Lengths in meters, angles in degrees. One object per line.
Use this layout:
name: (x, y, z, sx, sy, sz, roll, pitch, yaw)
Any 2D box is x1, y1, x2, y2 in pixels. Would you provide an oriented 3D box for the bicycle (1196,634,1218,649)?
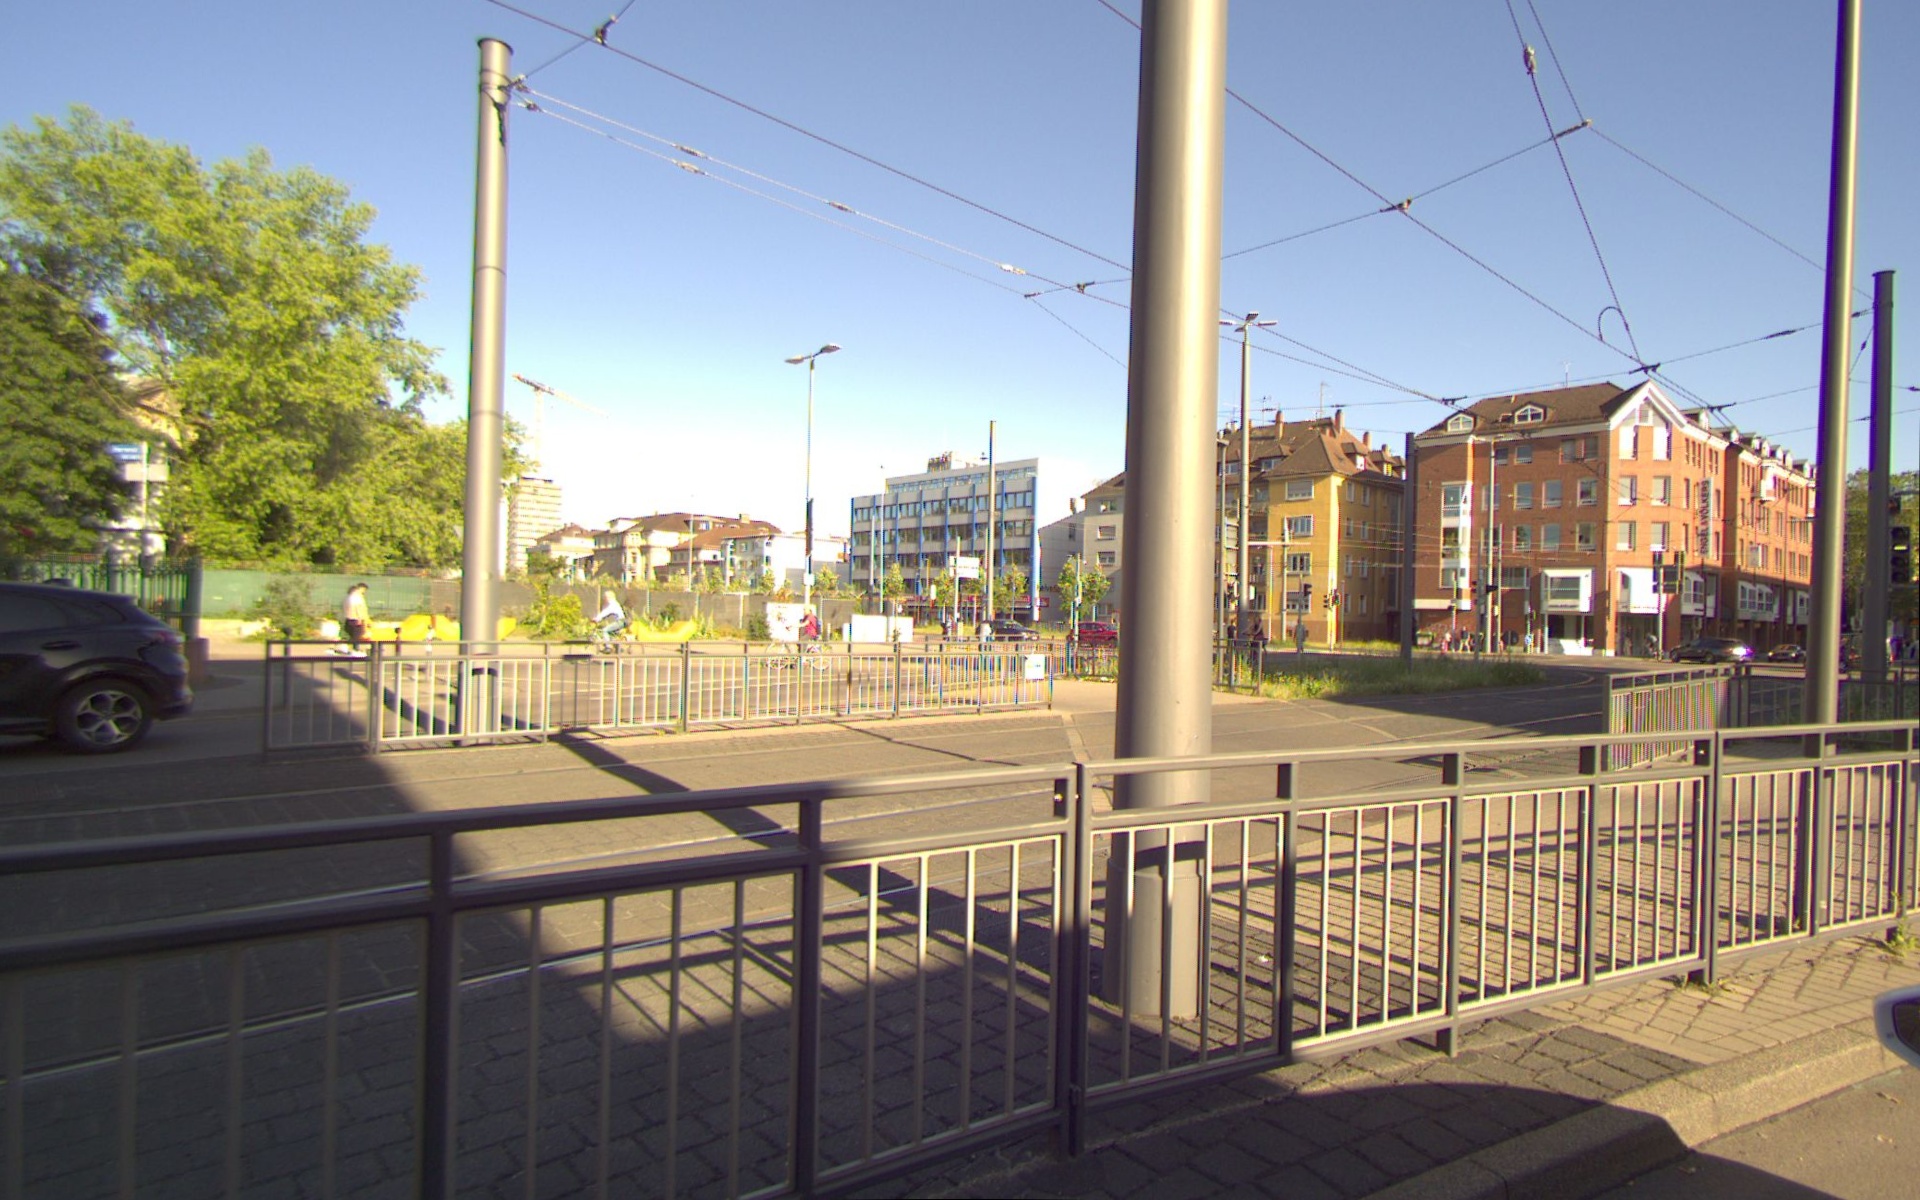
bicycle: (13.754, 2.312, 55.922, 1.157, 0.774, 0.319, 2, -1, 38)

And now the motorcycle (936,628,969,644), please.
motorcycle: (-0.498, 2.366, 66.020, 0.786, 0.997, 2.336, 3, -1, -43)

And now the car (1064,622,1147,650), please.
car: (8.237, 2.016, 57.002, 4.502, 1.529, 1.772, -1, -2, 44)

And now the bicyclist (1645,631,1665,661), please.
bicyclist: (43.955, 2.906, 63.510, 0.606, 1.795, 0.825, 2, -1, -25)

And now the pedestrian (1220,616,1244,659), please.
pedestrian: (12.694, 1.767, 46.906, 0.785, 1.959, 0.723, 2, -1, -16)

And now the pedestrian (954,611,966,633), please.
pedestrian: (-0.012, 2.127, 96.370, 0.795, 2.036, 0.799, 2, -1, 38)

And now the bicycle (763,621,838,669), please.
bicycle: (-4.189, 1.194, 26.480, 1.866, 1.230, 0.526, 3, -1, -35)

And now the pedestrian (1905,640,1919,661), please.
pedestrian: (77.422, 4.095, 81.449, 1.093, 1.646, 0.843, 2, -1, 43)

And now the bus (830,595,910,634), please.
bus: (-9.234, 1.402, 101.723, 2.930, 3.611, 9.311, 3, -1, -42)

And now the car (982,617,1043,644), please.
car: (3.232, 1.874, 62.157, 1.564, 1.491, 3.665, 3, -1, -43)

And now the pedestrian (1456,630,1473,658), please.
pedestrian: (32.265, 2.820, 64.214, 0.923, 1.733, 0.688, 3, -1, -43)

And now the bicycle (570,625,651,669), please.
bicycle: (-8.731, 1.183, 25.159, 1.853, 1.027, 0.530, 2, -1, -15)

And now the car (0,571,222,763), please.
car: (-8.904, 0.517, 8.368, 1.663, 1.581, 4.108, 2, -1, 36)

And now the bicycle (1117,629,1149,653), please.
bicycle: (8.953, 2.115, 51.991, 1.477, 1.148, 0.609, 2, -1, 40)

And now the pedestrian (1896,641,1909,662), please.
pedestrian: (70.459, 3.855, 75.087, 0.576, 1.551, 0.635, 2, -1, 36)

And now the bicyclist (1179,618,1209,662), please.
bicyclist: (8.024, 1.377, 34.455, 0.723, 1.473, 0.659, 2, -1, -33)

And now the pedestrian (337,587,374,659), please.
pedestrian: (-15.677, 0.590, 26.067, 0.695, 1.841, 0.592, 2, -1, -26)

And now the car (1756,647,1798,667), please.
car: (62.868, 4.416, 77.264, 3.946, 1.473, 1.802, 3, -3, -40)

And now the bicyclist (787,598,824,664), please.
bicyclist: (-4.080, 0.824, 26.544, 0.763, 1.695, 0.517, 2, -1, -35)

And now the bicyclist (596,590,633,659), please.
bicyclist: (-8.663, 0.610, 25.180, 0.757, 1.695, 0.521, 2, -1, -14)

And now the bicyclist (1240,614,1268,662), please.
bicyclist: (10.510, 1.352, 35.913, 0.801, 1.671, 0.583, 3, -1, -43)

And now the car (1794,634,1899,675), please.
car: (39.430, 2.383, 44.803, 1.546, 1.639, 3.785, 2, -1, 5)

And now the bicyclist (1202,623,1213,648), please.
bicyclist: (13.777, 1.977, 55.940, 0.452, 1.333, 0.398, 2, -1, 38)

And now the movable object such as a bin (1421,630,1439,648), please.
movable object such as a bin: (38.264, 3.161, 81.722, 0.985, 1.455, 1.090, 2, -1, 44)

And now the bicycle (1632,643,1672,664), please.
bicycle: (43.863, 3.368, 63.656, 0.620, 1.239, 2.028, 2, -1, -24)

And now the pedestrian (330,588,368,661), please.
pedestrian: (-16.081, 0.650, 26.458, 0.730, 1.876, 0.702, 2, -1, -26)

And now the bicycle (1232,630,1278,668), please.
bicycle: (10.570, 1.747, 35.993, 2.012, 1.308, 0.568, 3, -1, -42)

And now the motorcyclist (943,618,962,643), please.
motorcyclist: (-0.501, 2.010, 66.032, 0.777, 1.544, 0.911, 3, -1, -43)

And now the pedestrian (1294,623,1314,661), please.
pedestrian: (15.634, 1.901, 45.610, 0.617, 1.711, 0.702, 2, 1, 41)

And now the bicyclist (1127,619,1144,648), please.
bicyclist: (9.071, 1.735, 51.910, 0.607, 1.513, 0.607, 2, -1, 40)

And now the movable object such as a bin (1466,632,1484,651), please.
movable object such as a bin: (40.575, 3.276, 79.156, 0.985, 1.455, 1.090, 2, -1, 44)

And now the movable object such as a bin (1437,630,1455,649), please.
movable object such as a bin: (39.127, 3.188, 80.909, 0.985, 1.455, 1.090, 2, -1, 44)

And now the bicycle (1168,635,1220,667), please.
bicycle: (8.032, 1.754, 34.447, 1.866, 1.027, 0.645, 3, -1, -35)

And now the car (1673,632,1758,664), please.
car: (40.769, 2.562, 54.281, 1.699, 1.572, 3.469, 2, -1, -8)
